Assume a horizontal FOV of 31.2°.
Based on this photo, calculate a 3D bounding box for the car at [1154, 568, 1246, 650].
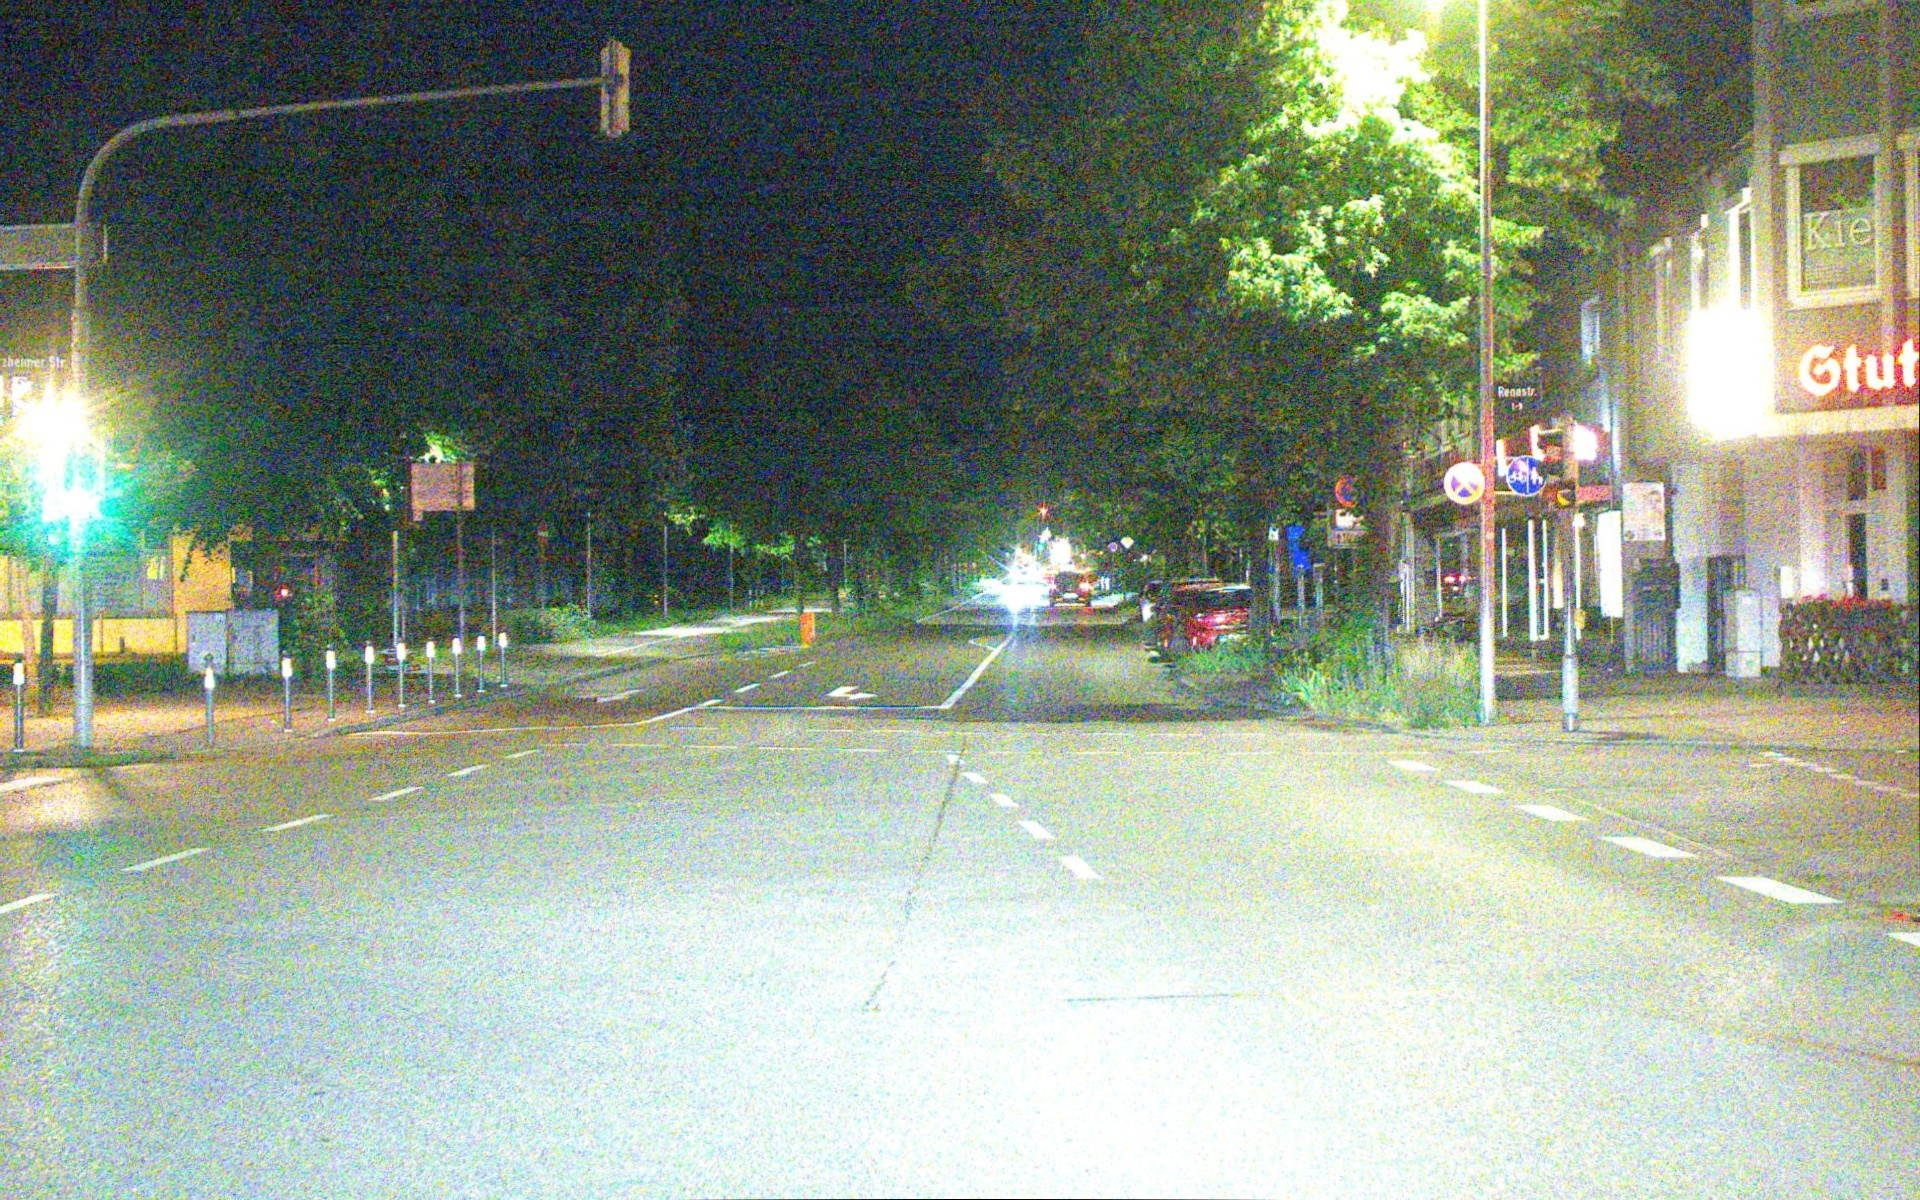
[{"bbox_3d":[5.228,0.186,75.360,1.876,1.723,4.000,0,0,2],"label":"car"}]

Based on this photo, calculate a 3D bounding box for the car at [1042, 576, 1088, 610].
[{"bbox_3d":[4.511,-0.305,147.821,1.873,1.449,4.316,1,0,1],"label":"car"}]

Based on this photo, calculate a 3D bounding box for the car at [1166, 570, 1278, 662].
[{"bbox_3d":[4.740,0.282,62.631,1.876,1.610,4.000,0,0,2],"label":"car"}]

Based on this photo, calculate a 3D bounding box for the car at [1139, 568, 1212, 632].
[{"bbox_3d":[5.826,-0.009,93.369,1.876,1.678,4.000,0,0,2],"label":"car"}]

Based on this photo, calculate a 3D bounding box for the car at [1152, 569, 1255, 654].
[{"bbox_3d":[4.765,0.215,67.690,1.876,1.610,4.000,0,0,2],"label":"car"}]
